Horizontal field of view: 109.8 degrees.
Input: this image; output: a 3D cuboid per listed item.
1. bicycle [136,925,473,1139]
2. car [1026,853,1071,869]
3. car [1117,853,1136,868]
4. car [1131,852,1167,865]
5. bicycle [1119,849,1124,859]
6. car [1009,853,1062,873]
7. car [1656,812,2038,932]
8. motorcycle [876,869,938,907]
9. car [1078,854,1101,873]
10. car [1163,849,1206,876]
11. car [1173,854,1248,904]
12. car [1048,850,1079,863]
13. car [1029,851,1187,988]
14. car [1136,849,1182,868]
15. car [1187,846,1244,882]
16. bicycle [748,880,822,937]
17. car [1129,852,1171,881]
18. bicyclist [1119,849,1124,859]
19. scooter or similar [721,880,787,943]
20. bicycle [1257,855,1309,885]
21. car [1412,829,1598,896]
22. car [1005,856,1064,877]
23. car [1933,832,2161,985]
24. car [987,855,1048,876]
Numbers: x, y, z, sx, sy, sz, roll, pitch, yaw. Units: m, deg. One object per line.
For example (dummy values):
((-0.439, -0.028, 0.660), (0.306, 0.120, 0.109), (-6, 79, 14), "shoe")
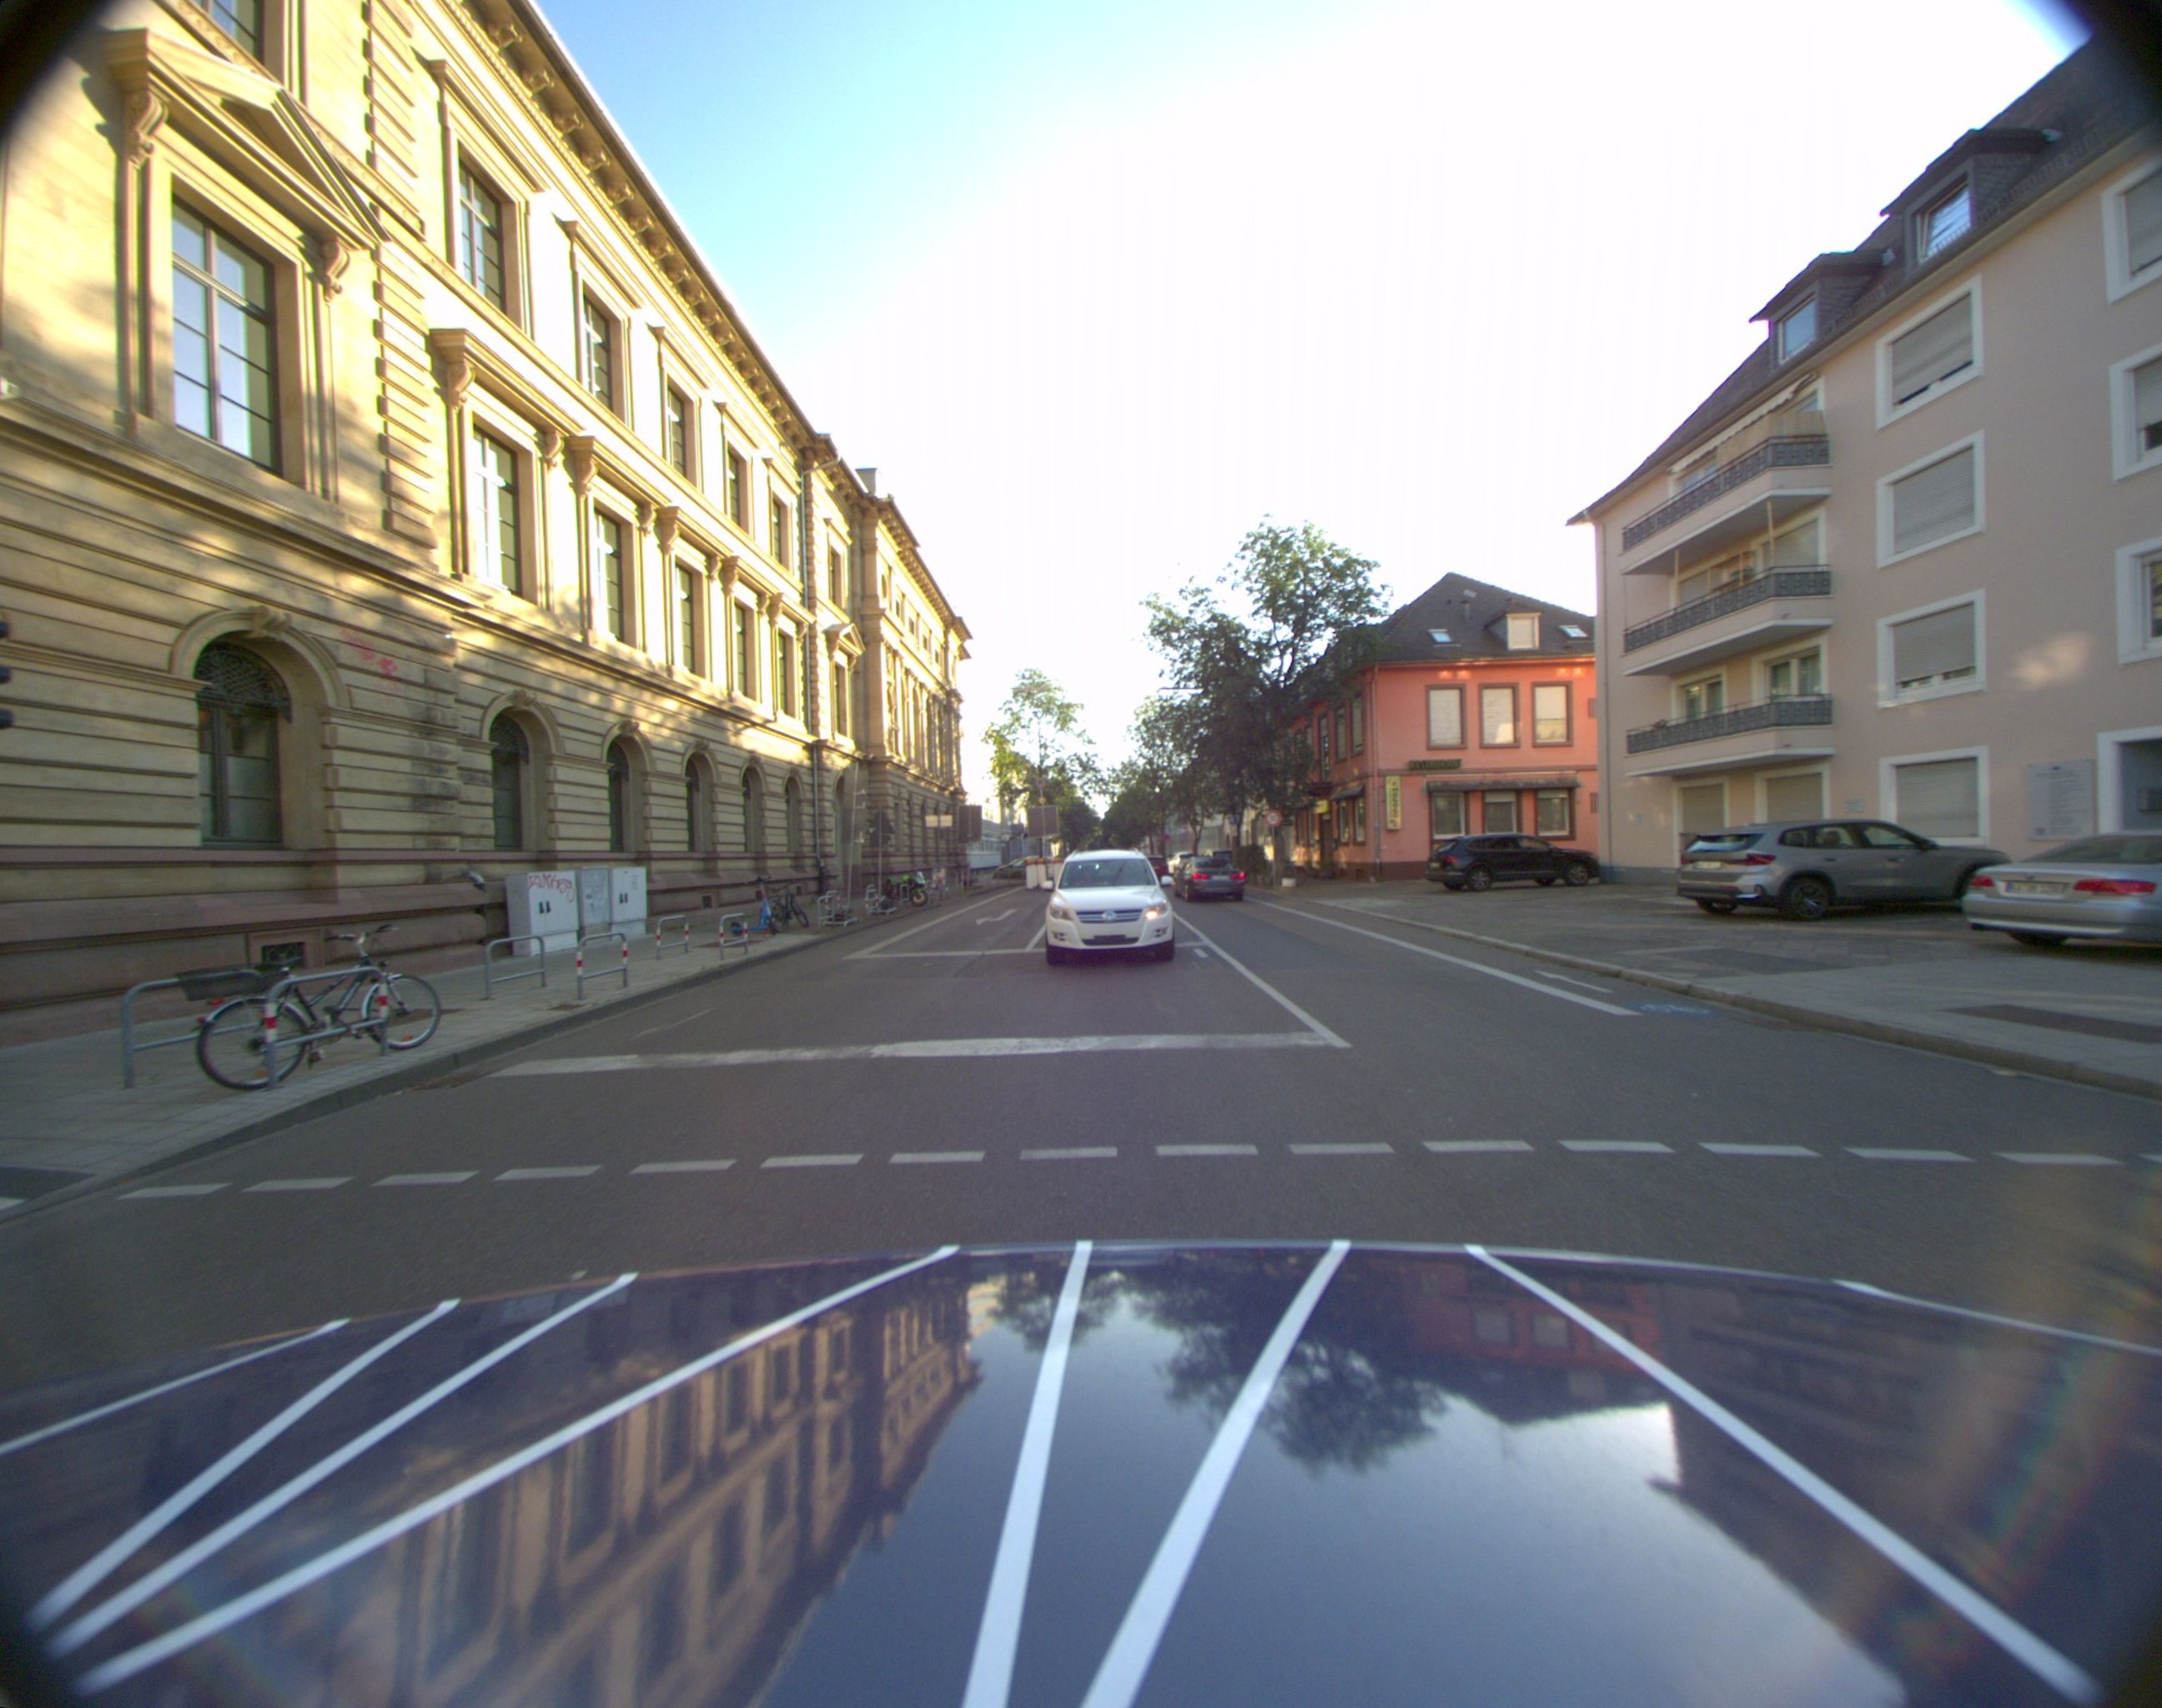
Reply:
((-5.936, 1.280, 6.022), (0.583, 1.182, 1.920), (-2, 2, 2), "bicycle")
((-3.213, 0.703, 75.853), (4.368, 1.615, 1.733), (0, 1, -1), "car")
((4.424, 0.623, 74.289), (1.662, 1.463, 3.854), (-1, 0, -1), "car")
((8.199, 0.514, 91.800), (4.230, 1.499, 1.800), (-2, 1, -1), "car")
((5.302, -0.028, 99.896), (0.626, 1.149, 2.052), (-2, 2, 2), "bicycle")
((-3.865, 0.740, 64.938), (4.368, 1.633, 2.054), (1, 0, -1), "car")
((12.633, 0.283, 12.774), (4.429, 1.596, 1.916), (-4, 0, 0), "car")
((-5.866, 1.120, 25.557), (2.098, 1.208, 0.711), (1, 1, 31), "motorcycle")
((0.756, 0.833, 67.321), (1.951, 1.546, 4.000), (-2, 0, 0), "car")
((7.049, 0.552, 52.150), (1.833, 1.658, 4.654), (-6, 1, -5), "car")
((4.192, 0.751, 25.208), (1.786, 1.451, 4.423), (-1, 1, 1), "car")
((-2.544, 0.400, 110.411), (4.368, 1.862, 1.733), (-1, 1, -1), "car")
((0.403, 0.826, 11.916), (1.957, 1.667, 4.543), (-2, 0, 2), "car")
((7.546, 0.461, 73.622), (4.230, 1.680, 1.800), (-2, 1, -1), "car")
((7.647, 0.523, 43.659), (1.833, 1.749, 5.046), (-6, 1, -5), "car")
((-6.539, 1.175, 16.923), (0.829, 1.128, 1.944), (1, 0, 2), "bicycle")
((3.917, 0.704, 44.174), (1.835, 1.536, 4.846), (-1, 0, -2), "car")
((5.310, -0.022, 99.952), (0.626, 1.357, 0.929), (-2, 2, 2), "bicyclist")
((-6.666, 1.152, 15.493), (1.131, 1.188, 0.585), (1, 1, 20), "scooter or similar")
((8.122, 0.639, 30.566), (1.872, 1.098, 0.610), (-2, 1, -5), "bicycle")
((12.530, 0.252, 22.645), (4.429, 1.655, 1.864), (-4, 0, 0), "car")
((-3.523, 0.947, 58.466), (4.367, 1.486, 1.672), (1, 1, 1), "car")
((12.391, 0.459, 8.245), (4.277, 1.372, 1.736), (-4, 0, 0), "car")
((-4.646, 0.858, 55.858), (4.369, 1.456, 1.833), (1, 1, -3), "car")
